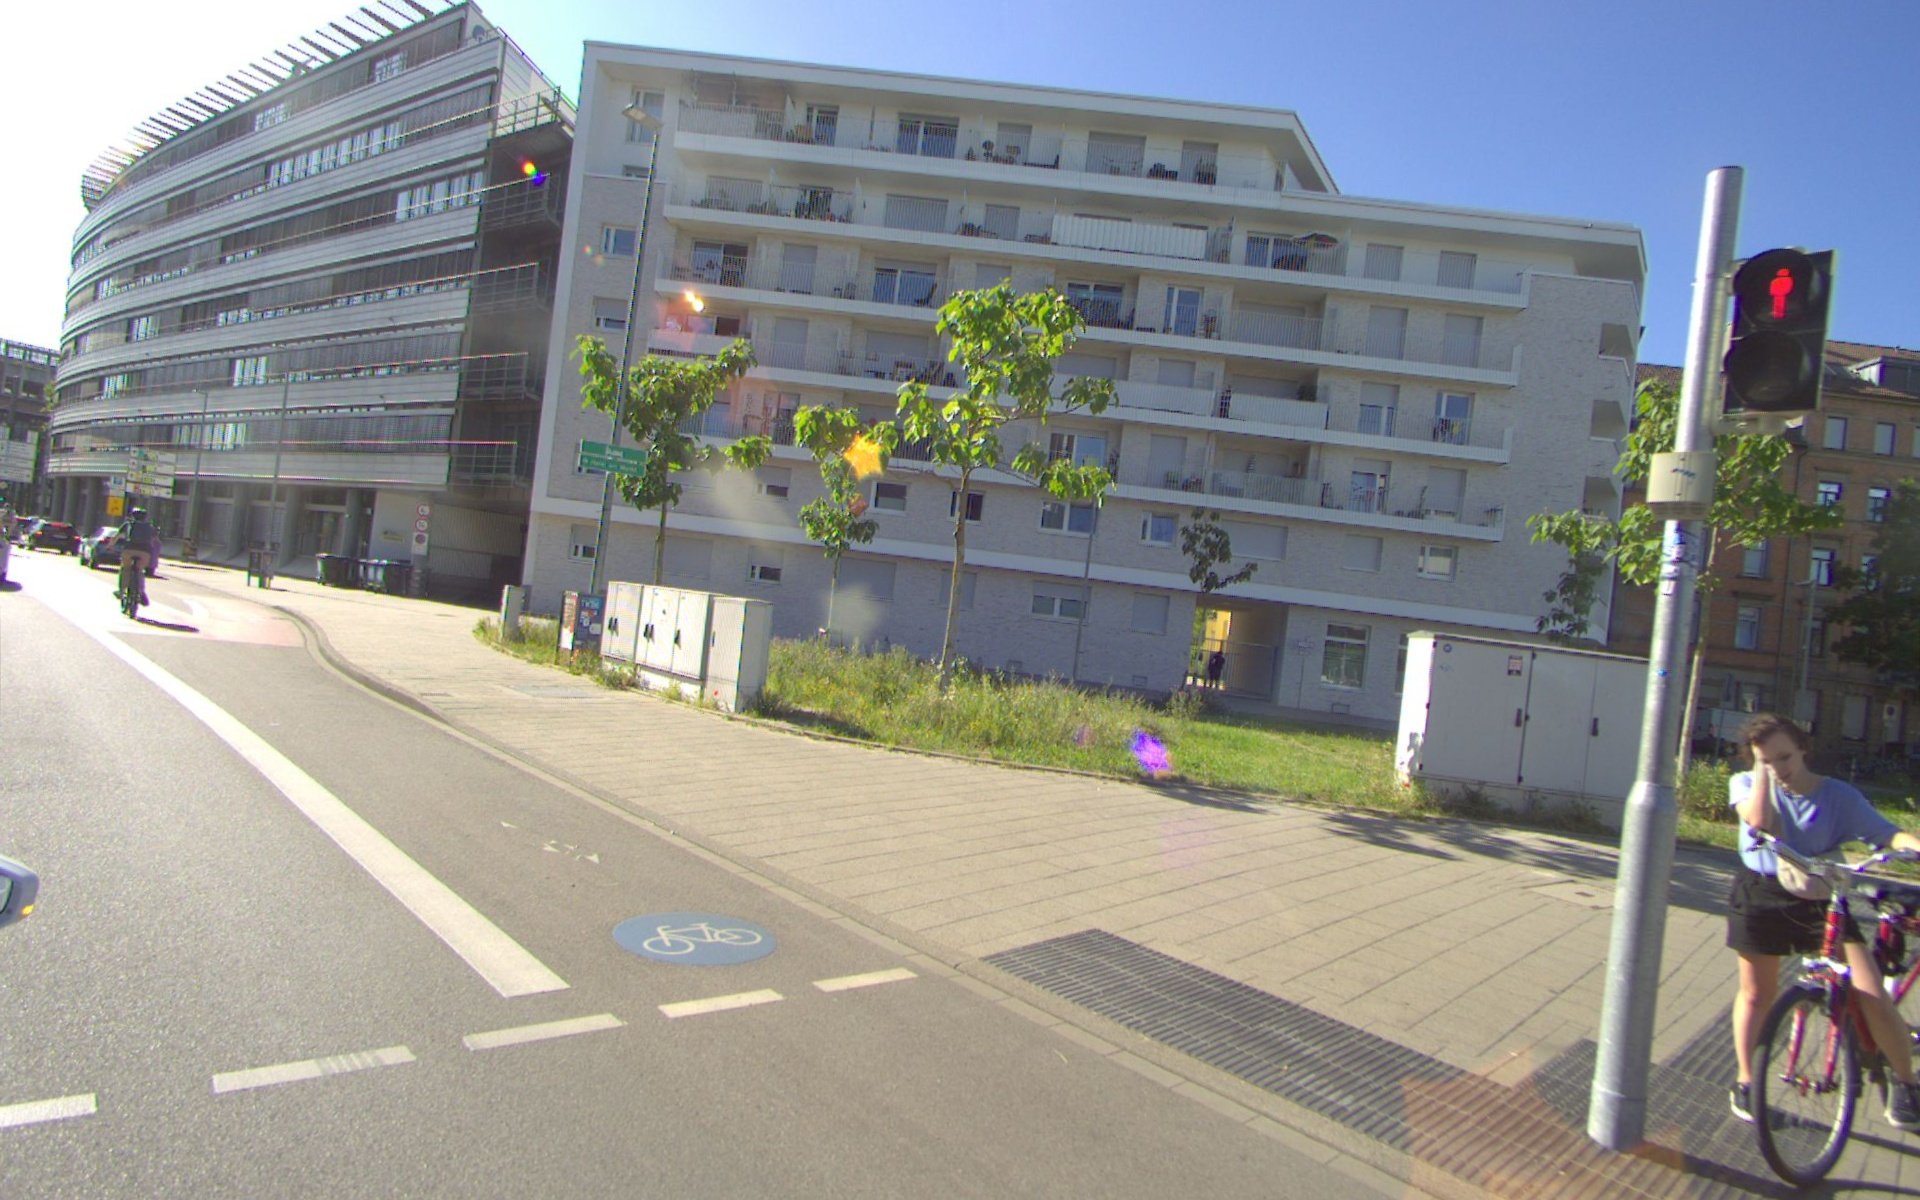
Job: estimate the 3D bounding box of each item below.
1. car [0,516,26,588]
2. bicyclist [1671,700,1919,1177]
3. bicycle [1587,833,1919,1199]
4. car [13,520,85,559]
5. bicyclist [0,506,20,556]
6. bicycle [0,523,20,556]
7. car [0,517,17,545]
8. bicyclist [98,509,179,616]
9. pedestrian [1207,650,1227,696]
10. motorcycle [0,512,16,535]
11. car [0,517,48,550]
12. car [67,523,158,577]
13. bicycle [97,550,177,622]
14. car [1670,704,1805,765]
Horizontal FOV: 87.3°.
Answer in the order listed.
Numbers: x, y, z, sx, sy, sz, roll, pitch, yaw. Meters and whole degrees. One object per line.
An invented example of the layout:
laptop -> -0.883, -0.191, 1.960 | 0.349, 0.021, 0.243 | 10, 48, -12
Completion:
car -> -21.446, -1.220, 21.295 | 4.232, 1.418, 1.774 | 6, -4, 40
bicyclist -> 3.135, 1.123, 3.619 | 0.820, 1.421, 0.584 | 6, 1, -36
bicycle -> 3.258, 1.514, 3.952 | 1.692, 0.966, 0.690 | 7, 0, -36
car -> -43.128, -2.880, 47.586 | 4.570, 1.438, 1.722 | 5, -3, 39
bicyclist -> -36.229, -2.631, 38.173 | 1.032, 1.773, 0.647 | 7, 0, 44
bicycle -> -36.137, -2.287, 38.056 | 1.736, 1.122, 0.648 | 3, -3, 44
car -> -61.369, -4.518, 63.313 | 4.072, 1.601, 1.910 | 6, -3, 34
bicyclist -> -14.325, -0.659, 17.538 | 0.805, 1.712, 1.038 | 10, -3, -44
pedestrian -> 9.651, 2.746, 37.785 | 0.513, 1.667, 0.471 | 6, -1, 7
motorcycle -> -56.527, -4.519, 59.307 | 2.356, 1.214, 0.829 | 5, -3, 39
car -> -51.395, -3.666, 54.933 | 4.721, 1.412, 1.720 | 5, -2, 41
car -> -30.643, -1.820, 36.342 | 4.337, 1.542, 1.720 | 5, -2, 40
bicycle -> -14.427, -0.260, 17.617 | 0.824, 1.048, 1.868 | 10, -3, -44
car -> 36.692, 6.323, 47.559 | 4.555, 2.137, 2.002 | 7, -1, 3
